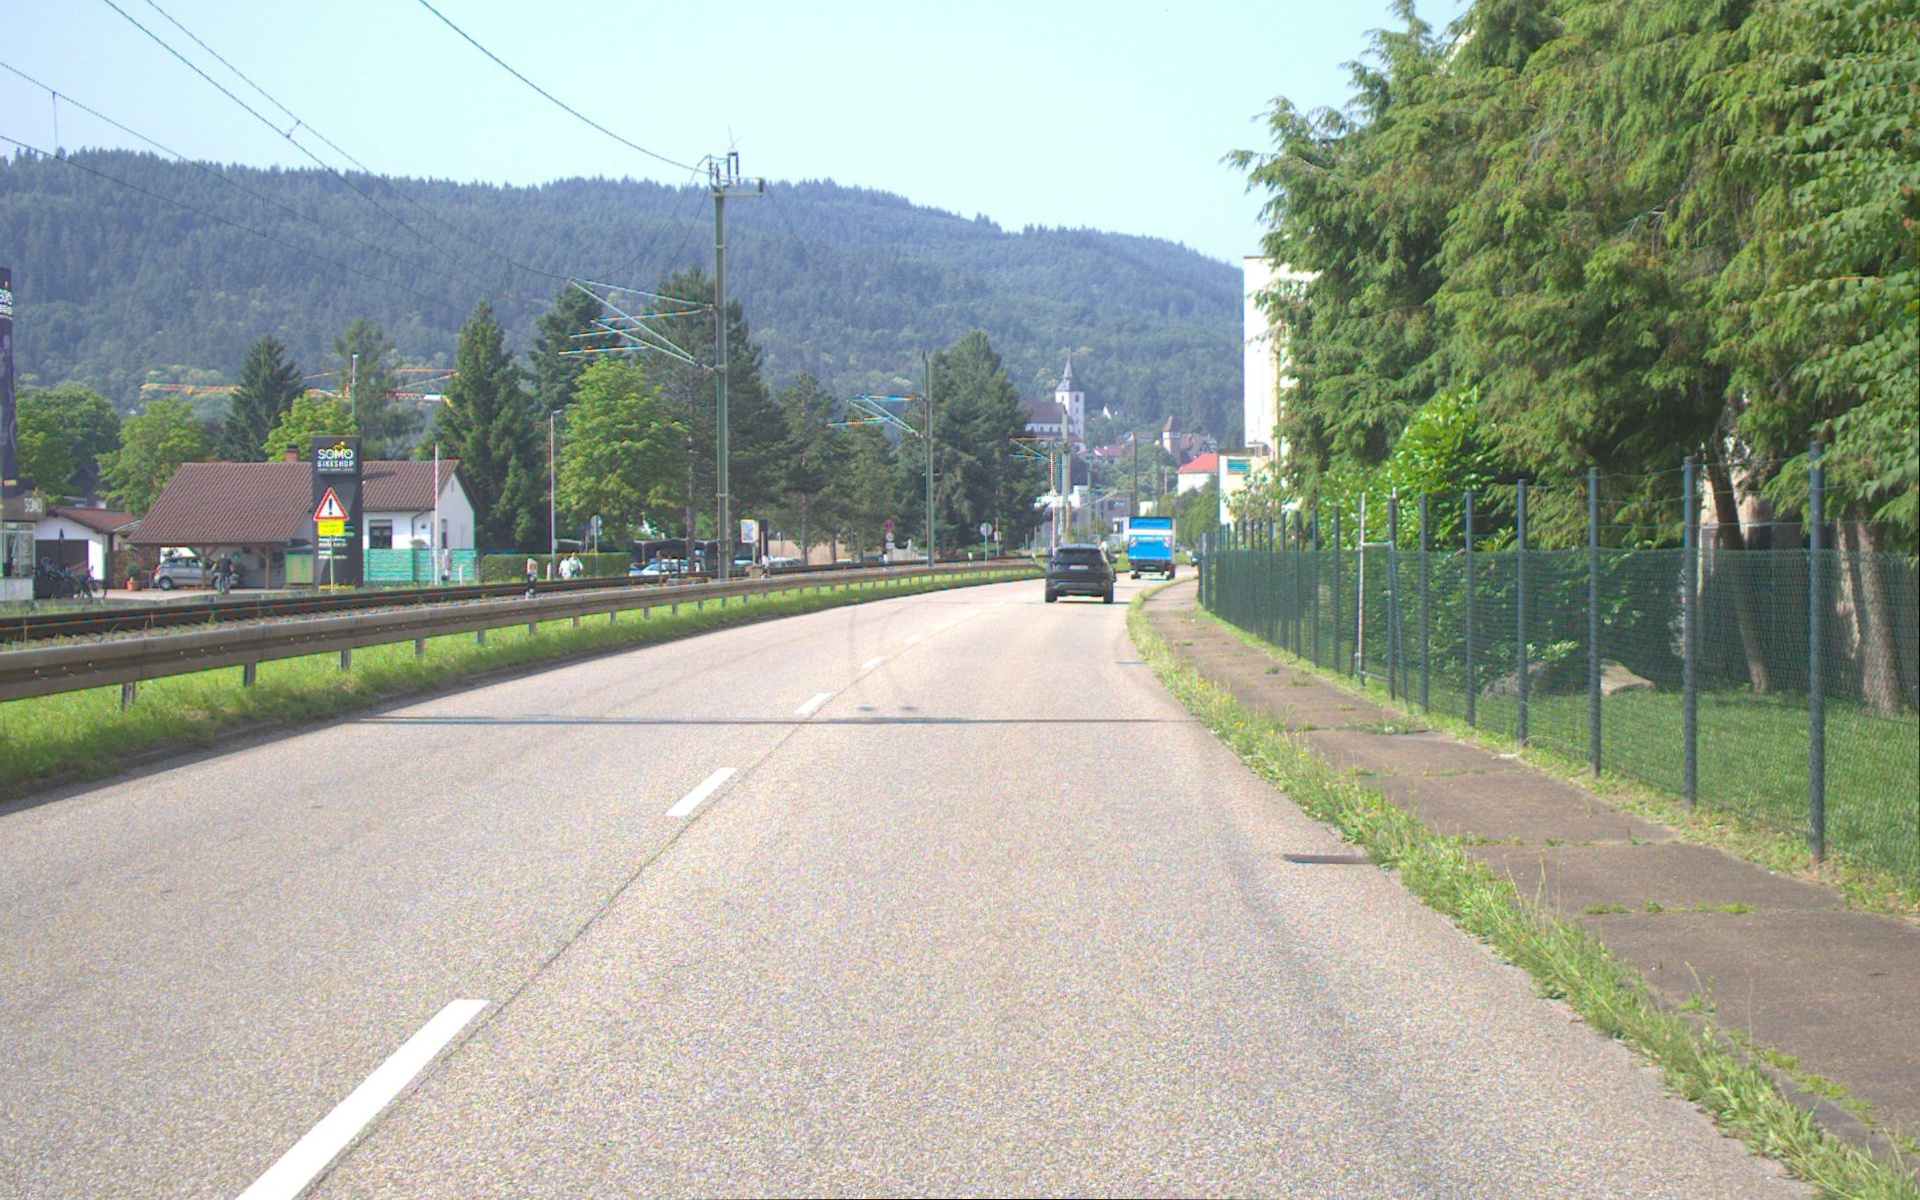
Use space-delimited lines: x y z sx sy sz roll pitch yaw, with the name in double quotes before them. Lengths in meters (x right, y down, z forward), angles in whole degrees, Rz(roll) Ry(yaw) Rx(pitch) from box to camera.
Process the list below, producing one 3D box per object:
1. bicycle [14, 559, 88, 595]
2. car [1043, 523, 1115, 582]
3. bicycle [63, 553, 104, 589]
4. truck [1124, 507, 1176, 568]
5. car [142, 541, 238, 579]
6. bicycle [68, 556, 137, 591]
"bicycle" -28.535 -0.715 107.952 0.729 1.126 2.317 0 0 37
"car" 3.376 -1.338 96.822 1.920 1.634 4.000 0 1 3
"bicycle" -28.288 -0.933 111.014 0.728 1.126 2.174 0 0 1
"truck" 9.384 -3.061 169.331 2.313 2.960 5.965 0 1 5
"car" -34.679 -1.805 154.890 3.836 1.645 1.712 0 1 6
"bicycle" -28.458 -0.884 114.097 2.167 1.126 0.730 0 0 -7
